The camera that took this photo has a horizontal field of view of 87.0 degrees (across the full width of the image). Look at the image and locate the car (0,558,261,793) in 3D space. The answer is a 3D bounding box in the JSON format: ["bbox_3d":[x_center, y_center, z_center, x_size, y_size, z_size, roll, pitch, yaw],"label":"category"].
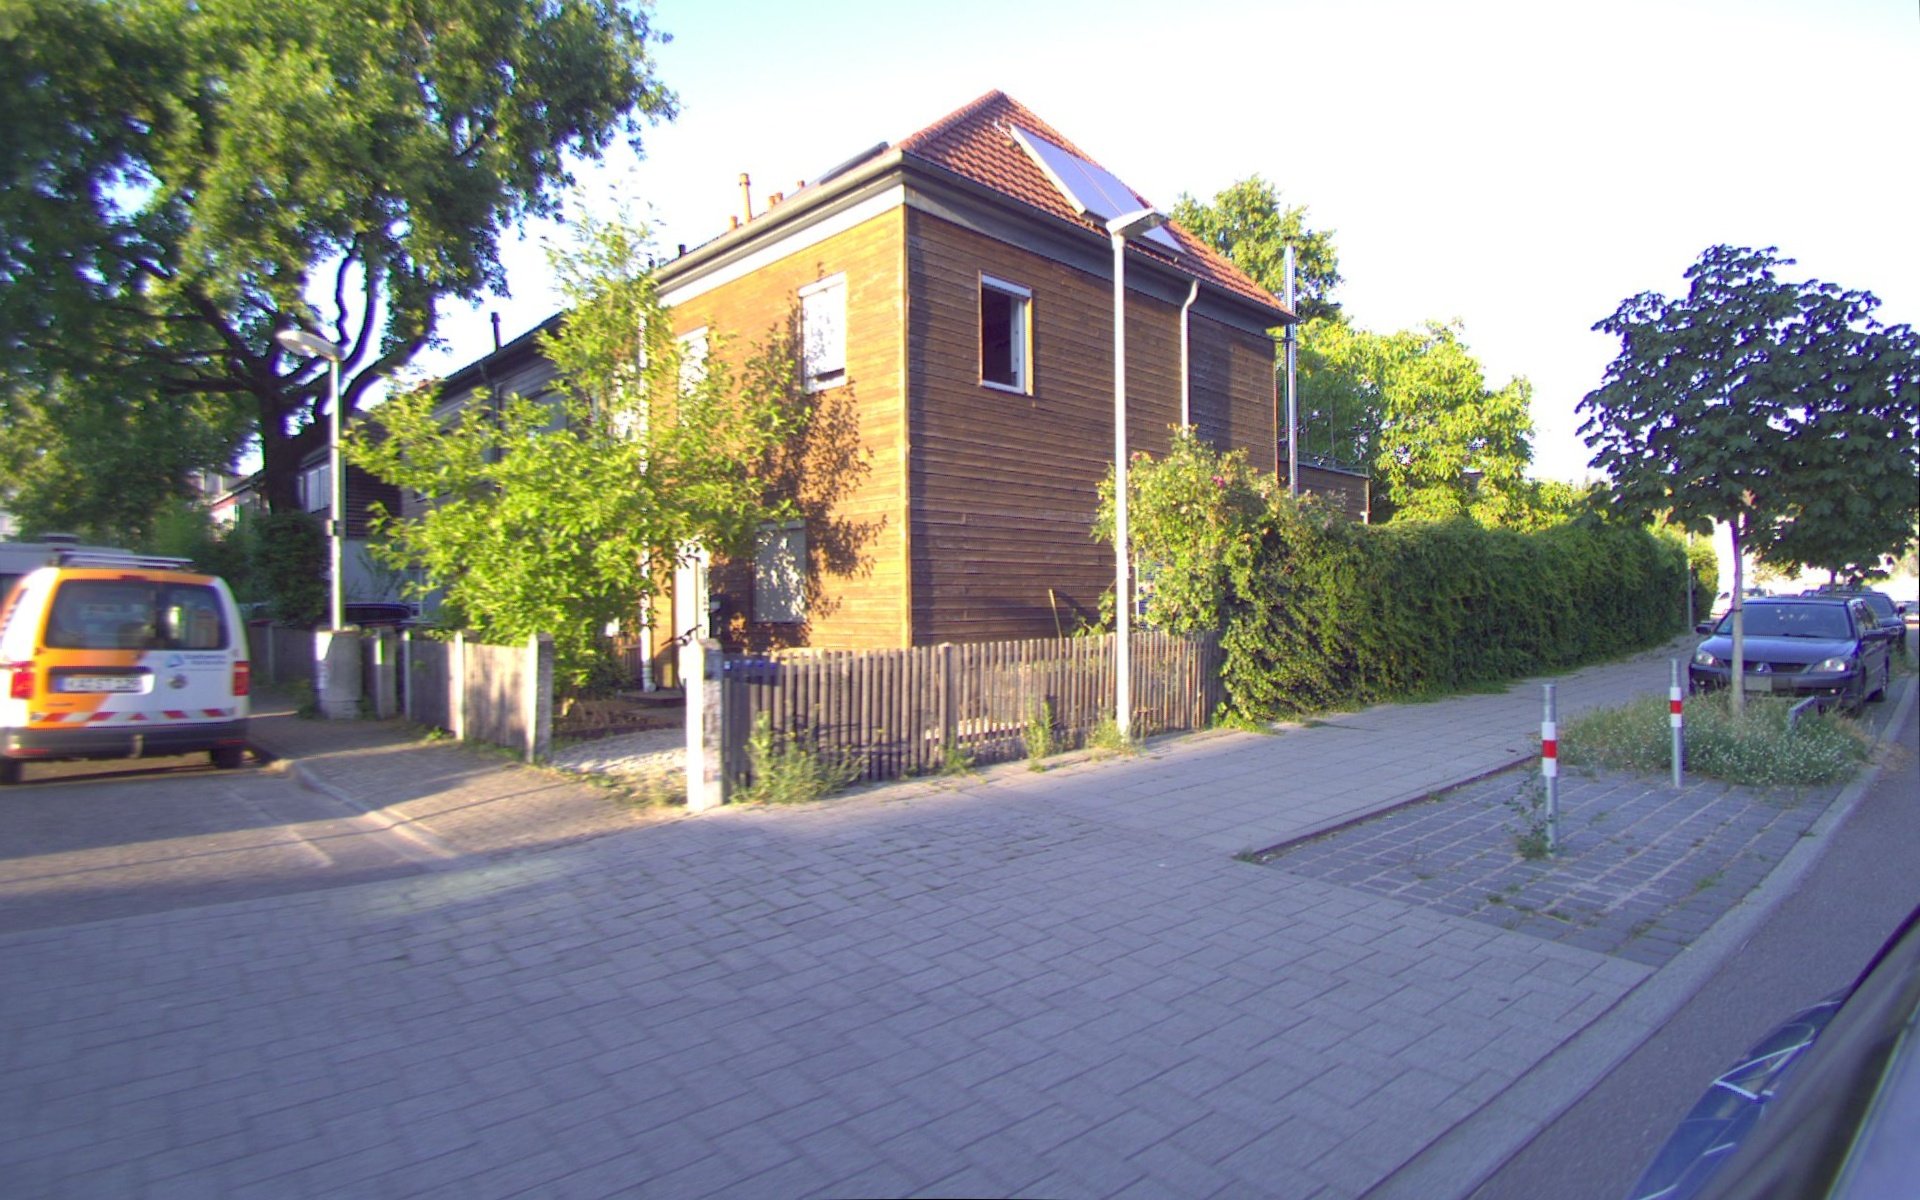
[{"bbox_3d":[-8.206,0.603,9.662,3.940,1.789,1.754,-1,-2,44],"label":"car"}]

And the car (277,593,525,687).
[{"bbox_3d":[-9.913,0.632,18.048,3.547,1.474,1.954,-1,0,-41],"label":"car"}]

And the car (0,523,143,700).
[{"bbox_3d":[-15.417,0.193,16.967,4.738,2.593,2.064,-1,-2,44],"label":"car"}]

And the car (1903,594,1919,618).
[{"bbox_3d":[58.357,0.338,61.275,1.793,1.365,3.965,-3,-2,43],"label":"car"}]

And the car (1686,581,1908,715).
[{"bbox_3d":[11.064,0.522,13.268,4.293,1.481,1.678,0,0,-42],"label":"car"}]

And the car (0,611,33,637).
[{"bbox_3d":[-58.261,1.471,62.090,3.597,1.575,1.781,-1,-2,44],"label":"car"}]

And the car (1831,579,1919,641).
[{"bbox_3d":[23.930,0.228,26.255,1.766,1.481,4.298,0,0,44],"label":"car"}]

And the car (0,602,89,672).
[{"bbox_3d":[-22.570,0.859,24.478,3.597,1.575,1.927,-1,-2,44],"label":"car"}]

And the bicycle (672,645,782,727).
[{"bbox_3d":[-2.716,0.957,11.663,0.556,0.807,1.699,0,-1,-39],"label":"bicycle"}]

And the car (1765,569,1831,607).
[{"bbox_3d":[34.822,-0.484,42.016,1.766,1.481,4.298,0,0,44],"label":"car"}]

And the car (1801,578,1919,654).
[{"bbox_3d":[19.532,0.299,21.855,1.766,1.481,4.298,0,0,44],"label":"car"}]

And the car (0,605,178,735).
[{"bbox_3d":[-11.765,0.822,13.223,3.597,1.474,1.927,-1,-2,44],"label":"car"}]
